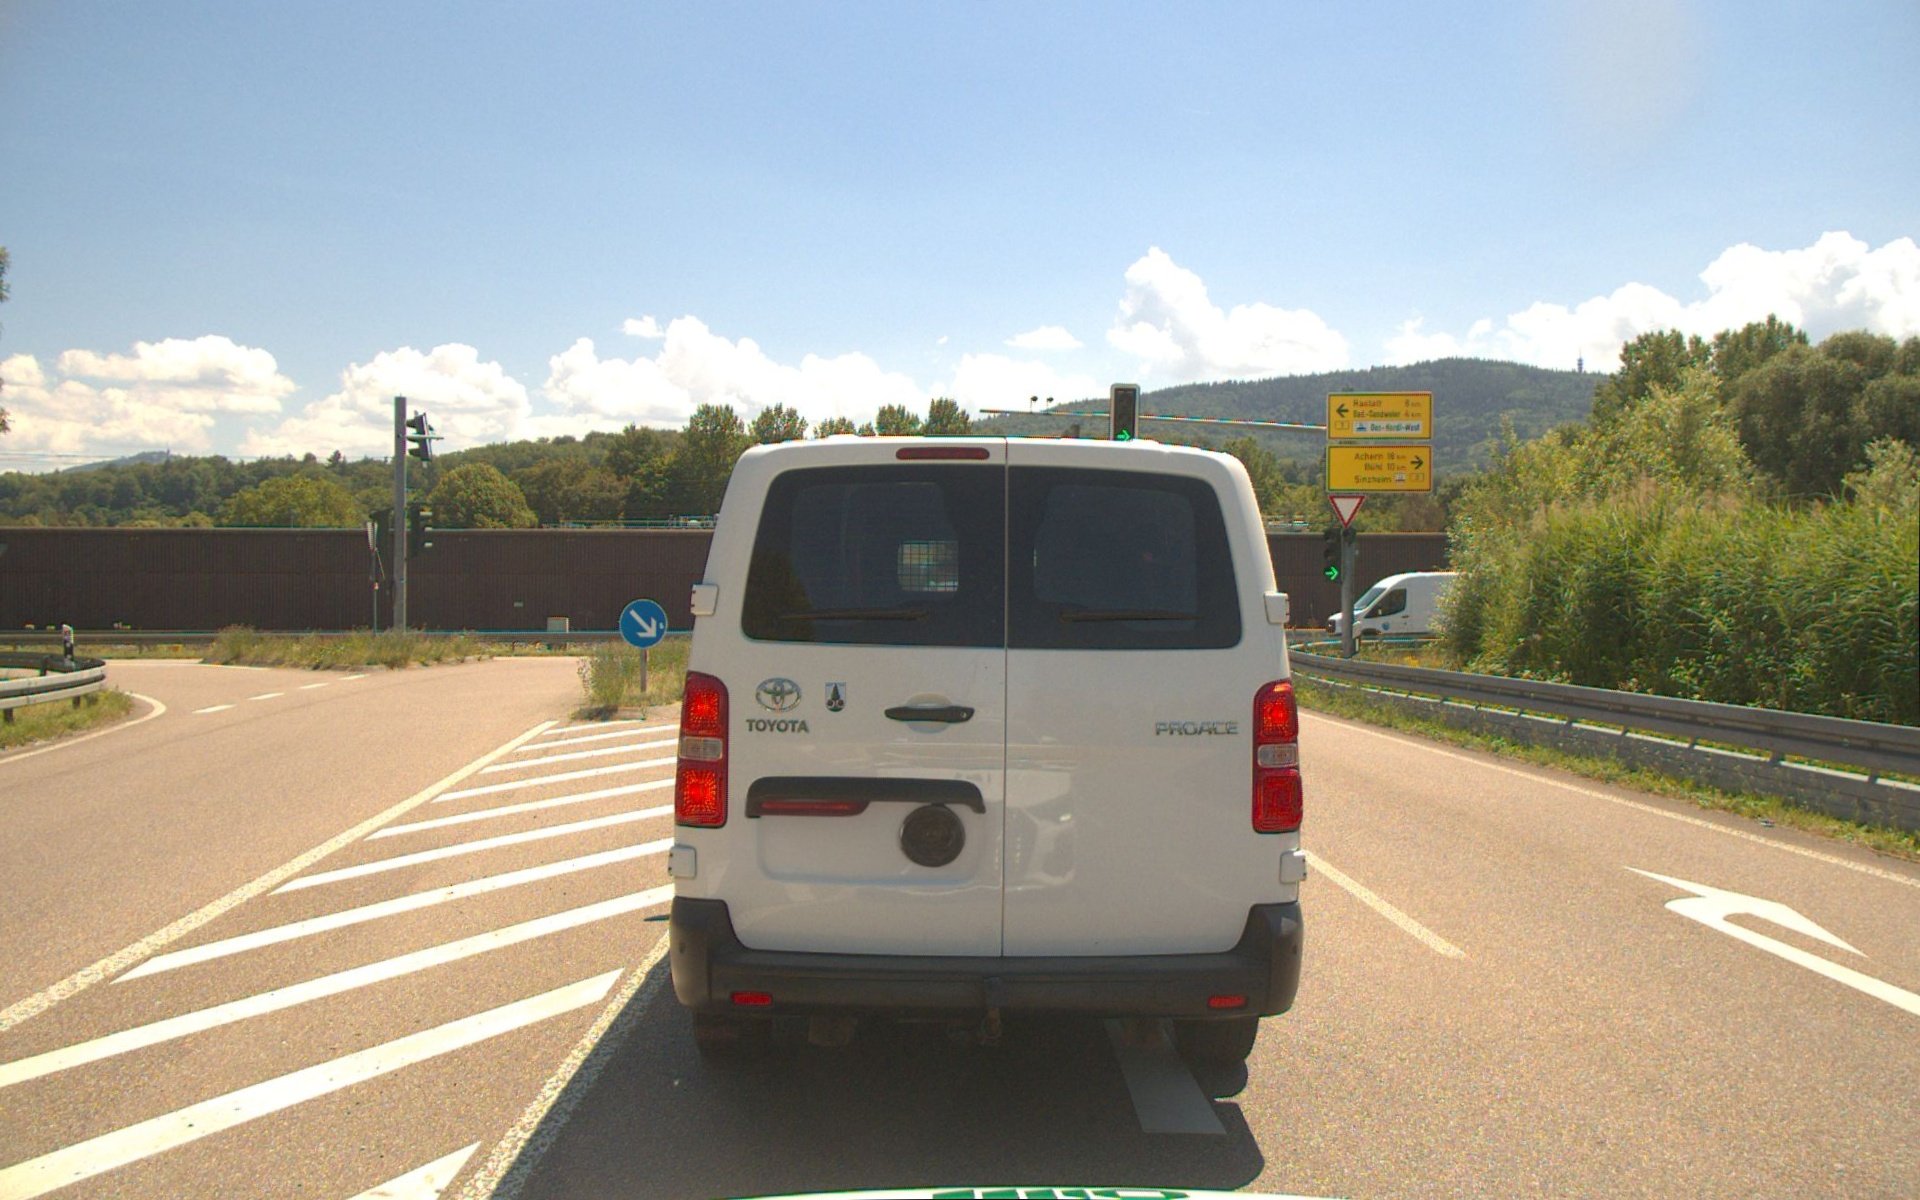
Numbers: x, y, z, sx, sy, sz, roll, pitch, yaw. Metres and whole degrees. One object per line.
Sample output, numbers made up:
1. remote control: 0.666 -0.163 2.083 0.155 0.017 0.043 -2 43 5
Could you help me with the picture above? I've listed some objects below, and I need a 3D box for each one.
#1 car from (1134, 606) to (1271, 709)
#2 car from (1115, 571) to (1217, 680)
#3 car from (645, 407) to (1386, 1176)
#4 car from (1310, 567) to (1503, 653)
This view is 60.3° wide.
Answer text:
1. car: 3.648 0.830 25.375 1.622 1.456 3.365 1 0 0
2. car: 4.282 0.499 33.826 1.887 2.035 4.841 1 0 9
3. car: 0.101 0.497 6.170 1.848 1.919 3.999 1 0 -1
4. car: 13.341 0.294 49.620 5.238 2.493 2.038 0 0 -3
